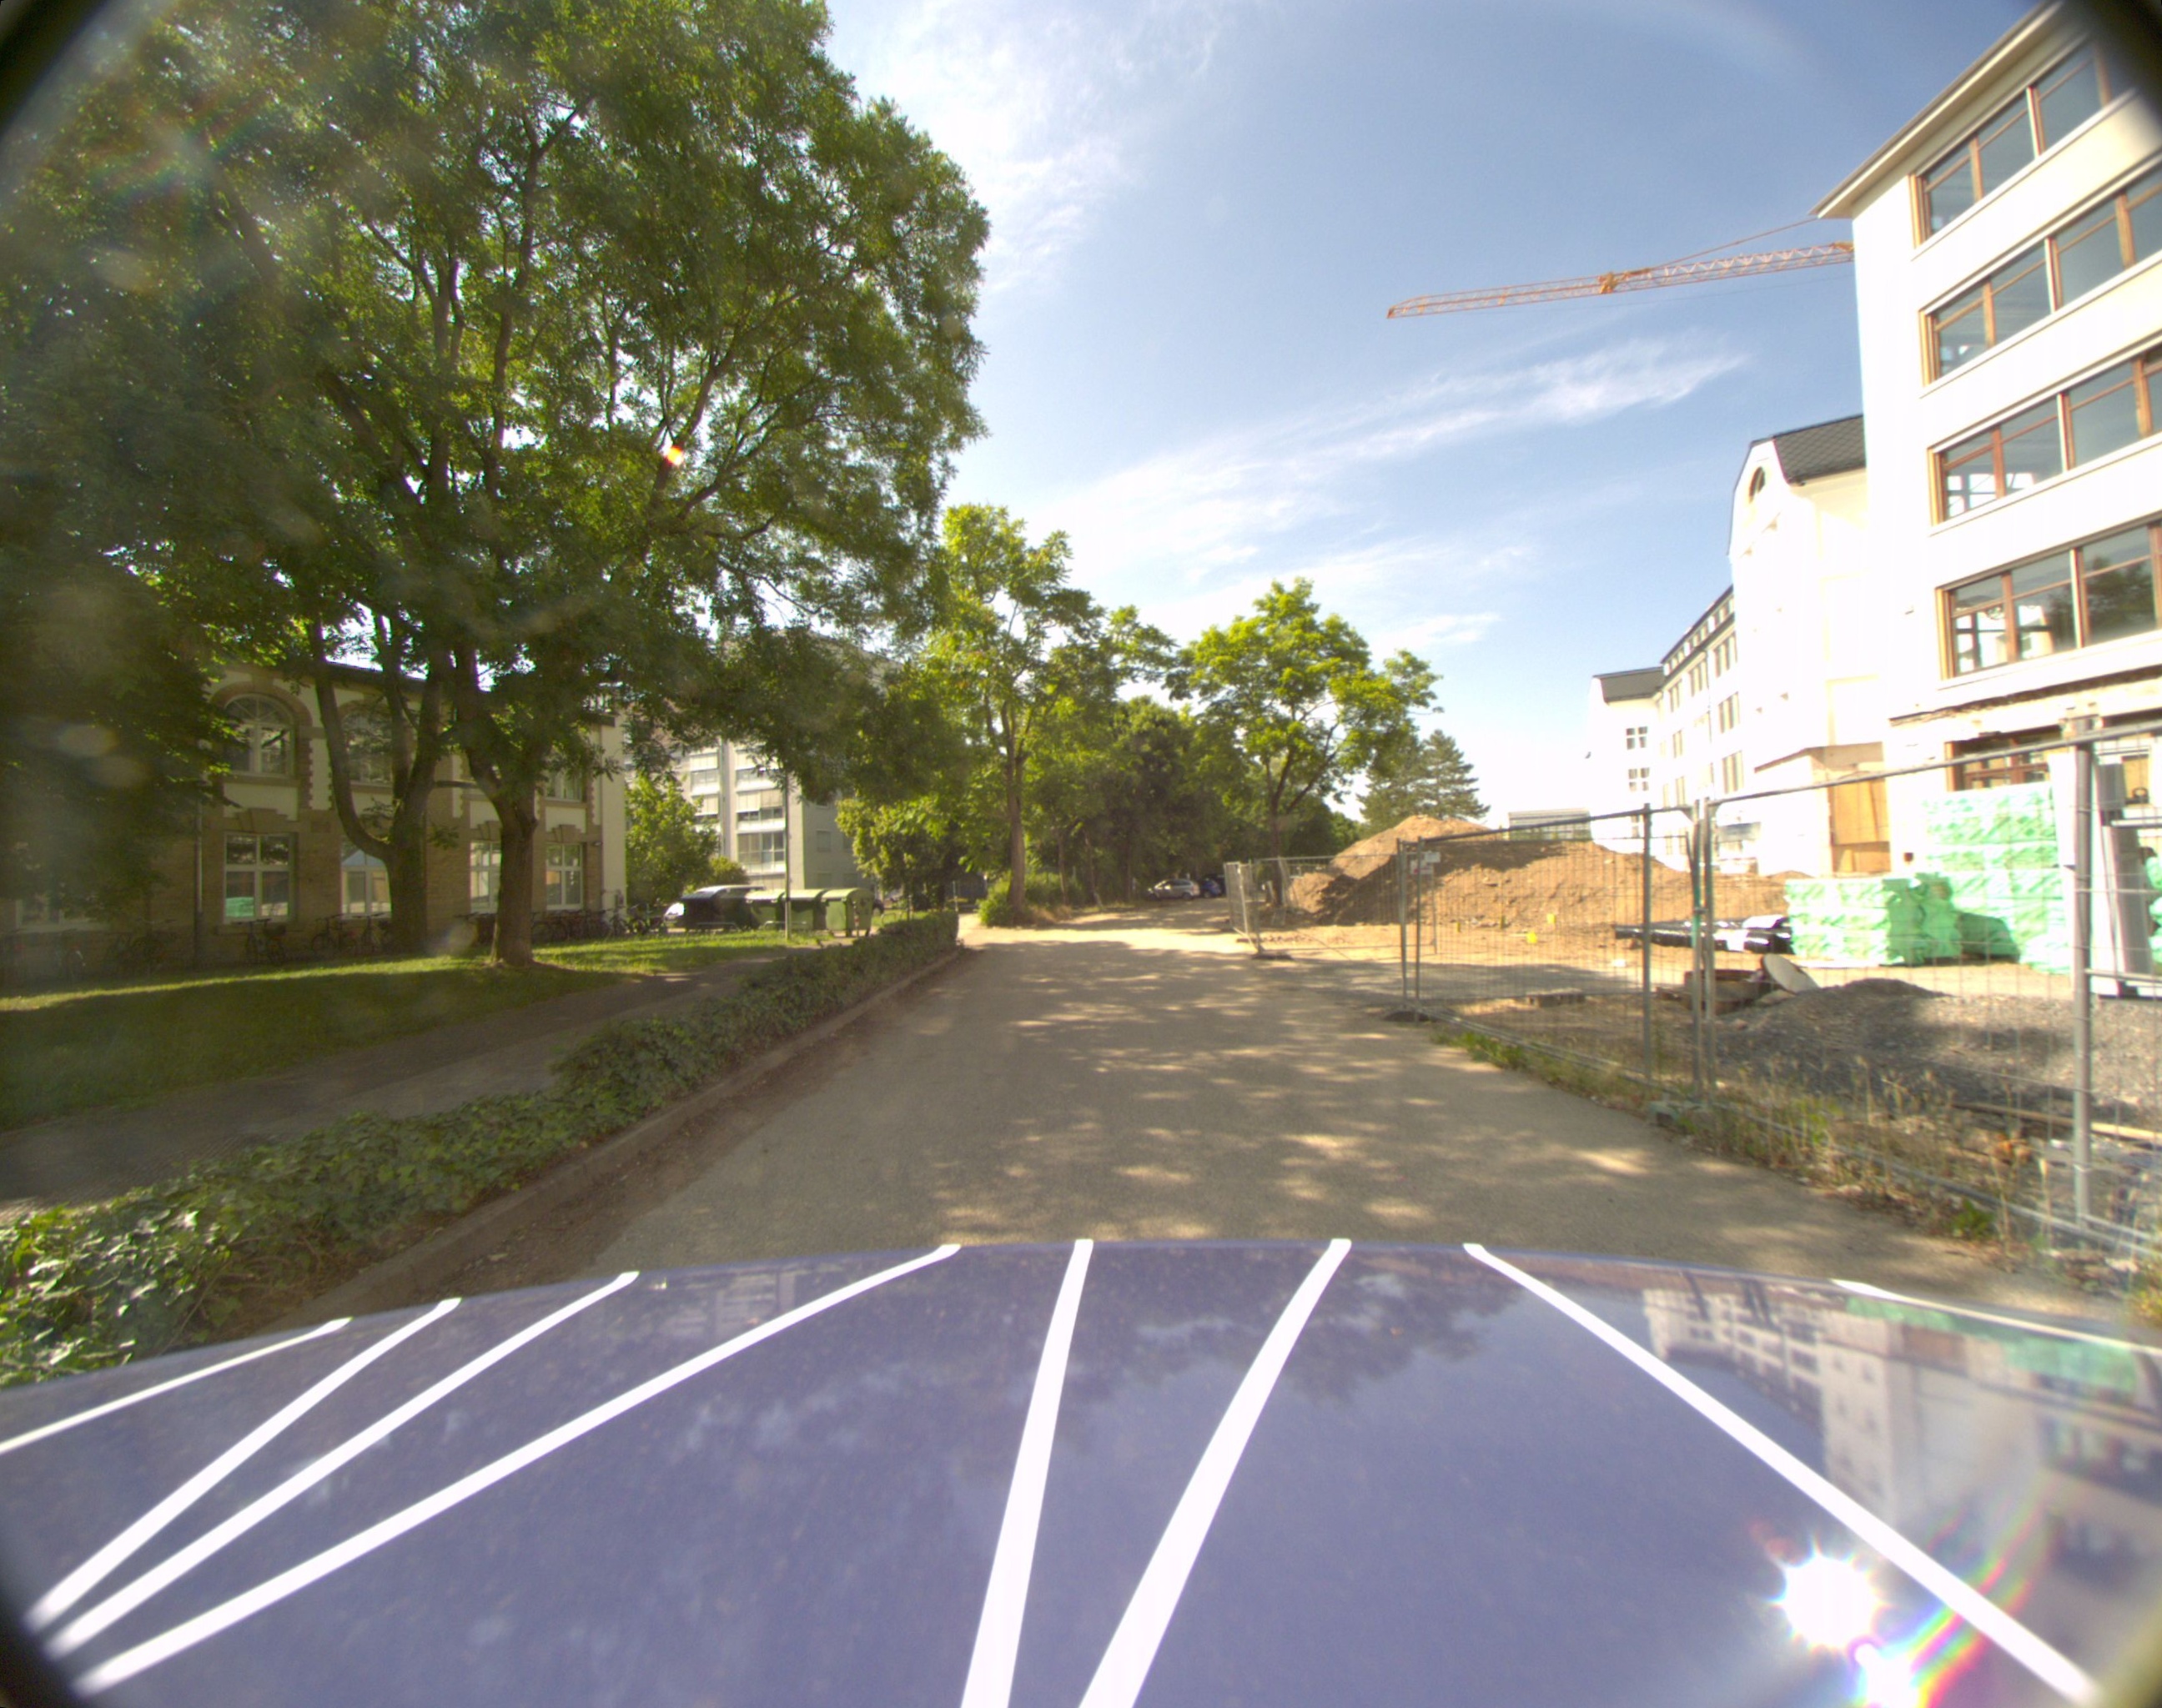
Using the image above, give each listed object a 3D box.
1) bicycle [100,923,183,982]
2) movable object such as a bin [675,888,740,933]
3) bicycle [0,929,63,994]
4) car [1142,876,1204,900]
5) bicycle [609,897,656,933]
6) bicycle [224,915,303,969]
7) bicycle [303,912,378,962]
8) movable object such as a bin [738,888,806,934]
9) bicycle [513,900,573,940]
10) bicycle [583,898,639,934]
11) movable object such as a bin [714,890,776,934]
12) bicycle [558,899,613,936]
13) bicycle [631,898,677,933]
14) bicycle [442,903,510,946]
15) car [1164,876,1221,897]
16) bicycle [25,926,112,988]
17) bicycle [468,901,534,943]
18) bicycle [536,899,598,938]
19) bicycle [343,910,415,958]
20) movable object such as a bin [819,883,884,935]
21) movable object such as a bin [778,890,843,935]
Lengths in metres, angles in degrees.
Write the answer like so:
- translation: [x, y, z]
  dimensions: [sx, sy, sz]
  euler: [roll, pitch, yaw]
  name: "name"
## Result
- translation: [-19.910, 2.057, 16.093]
  dimensions: [2.097, 1.154, 0.589]
  euler: [-3, -1, 24]
  name: "bicycle"
- translation: [-12.361, 1.861, 25.180]
  dimensions: [1.433, 1.401, 1.252]
  euler: [-2, -1, 20]
  name: "movable object such as a bin"
- translation: [-20.500, 2.048, 14.651]
  dimensions: [2.097, 1.154, 0.589]
  euler: [-3, -1, 24]
  name: "bicycle"
- translation: [6.523, 2.406, 53.825]
  dimensions: [3.991, 1.499, 2.003]
  euler: [-2, -2, 19]
  name: "car"
- translation: [-15.175, 2.071, 25.712]
  dimensions: [1.800, 1.154, 0.508]
  euler: [-3, -1, 29]
  name: "bicycle"
- translation: [-19.077, 2.039, 17.726]
  dimensions: [2.097, 1.154, 0.589]
  euler: [-3, -1, 24]
  name: "bicycle"
- translation: [-18.477, 2.053, 18.953]
  dimensions: [2.097, 1.154, 0.589]
  euler: [-3, -1, 24]
  name: "bicycle"
- translation: [-9.642, 1.772, 23.737]
  dimensions: [1.499, 1.353, 1.217]
  euler: [-2, -1, 21]
  name: "movable object such as a bin"
- translation: [-16.397, 2.018, 23.152]
  dimensions: [1.917, 1.154, 0.589]
  euler: [-3, -1, 24]
  name: "bicycle"
- translation: [-15.584, 2.061, 25.186]
  dimensions: [1.847, 1.154, 0.614]
  euler: [-3, -1, 24]
  name: "bicycle"
- translation: [-10.888, 1.863, 24.634]
  dimensions: [1.349, 1.341, 1.217]
  euler: [-2, -1, 21]
  name: "movable object such as a bin"
- translation: [-15.895, 2.040, 24.378]
  dimensions: [1.909, 1.154, 0.495]
  euler: [-3, -1, 24]
  name: "bicycle"
- translation: [-14.703, 2.101, 26.150]
  dimensions: [1.940, 1.154, 0.558]
  euler: [-3, -1, 34]
  name: "bicycle"
- translation: [-17.176, 2.006, 21.564]
  dimensions: [2.097, 1.154, 0.589]
  euler: [-3, -1, 24]
  name: "bicycle"
- translation: [8.639, 2.496, 58.788]
  dimensions: [3.991, 1.433, 2.003]
  euler: [-2, -2, 19]
  name: "car"
- translation: [-20.355, 2.046, 15.270]
  dimensions: [2.097, 1.154, 0.589]
  euler: [-3, -1, 24]
  name: "bicycle"
- translation: [-16.950, 1.994, 22.199]
  dimensions: [2.097, 1.154, 0.589]
  euler: [-3, -1, 24]
  name: "bicycle"
- translation: [-16.152, 2.019, 23.864]
  dimensions: [2.097, 1.154, 0.589]
  euler: [-3, -1, 24]
  name: "bicycle"
- translation: [-18.188, 2.058, 19.675]
  dimensions: [2.097, 1.154, 0.589]
  euler: [-3, -1, 24]
  name: "bicycle"
- translation: [-6.848, 1.626, 22.666]
  dimensions: [1.389, 1.454, 1.218]
  euler: [-3, -1, 36]
  name: "movable object such as a bin"
- translation: [-8.240, 1.777, 23.184]
  dimensions: [1.352, 1.292, 1.217]
  euler: [-2, -1, 21]
  name: "movable object such as a bin"
